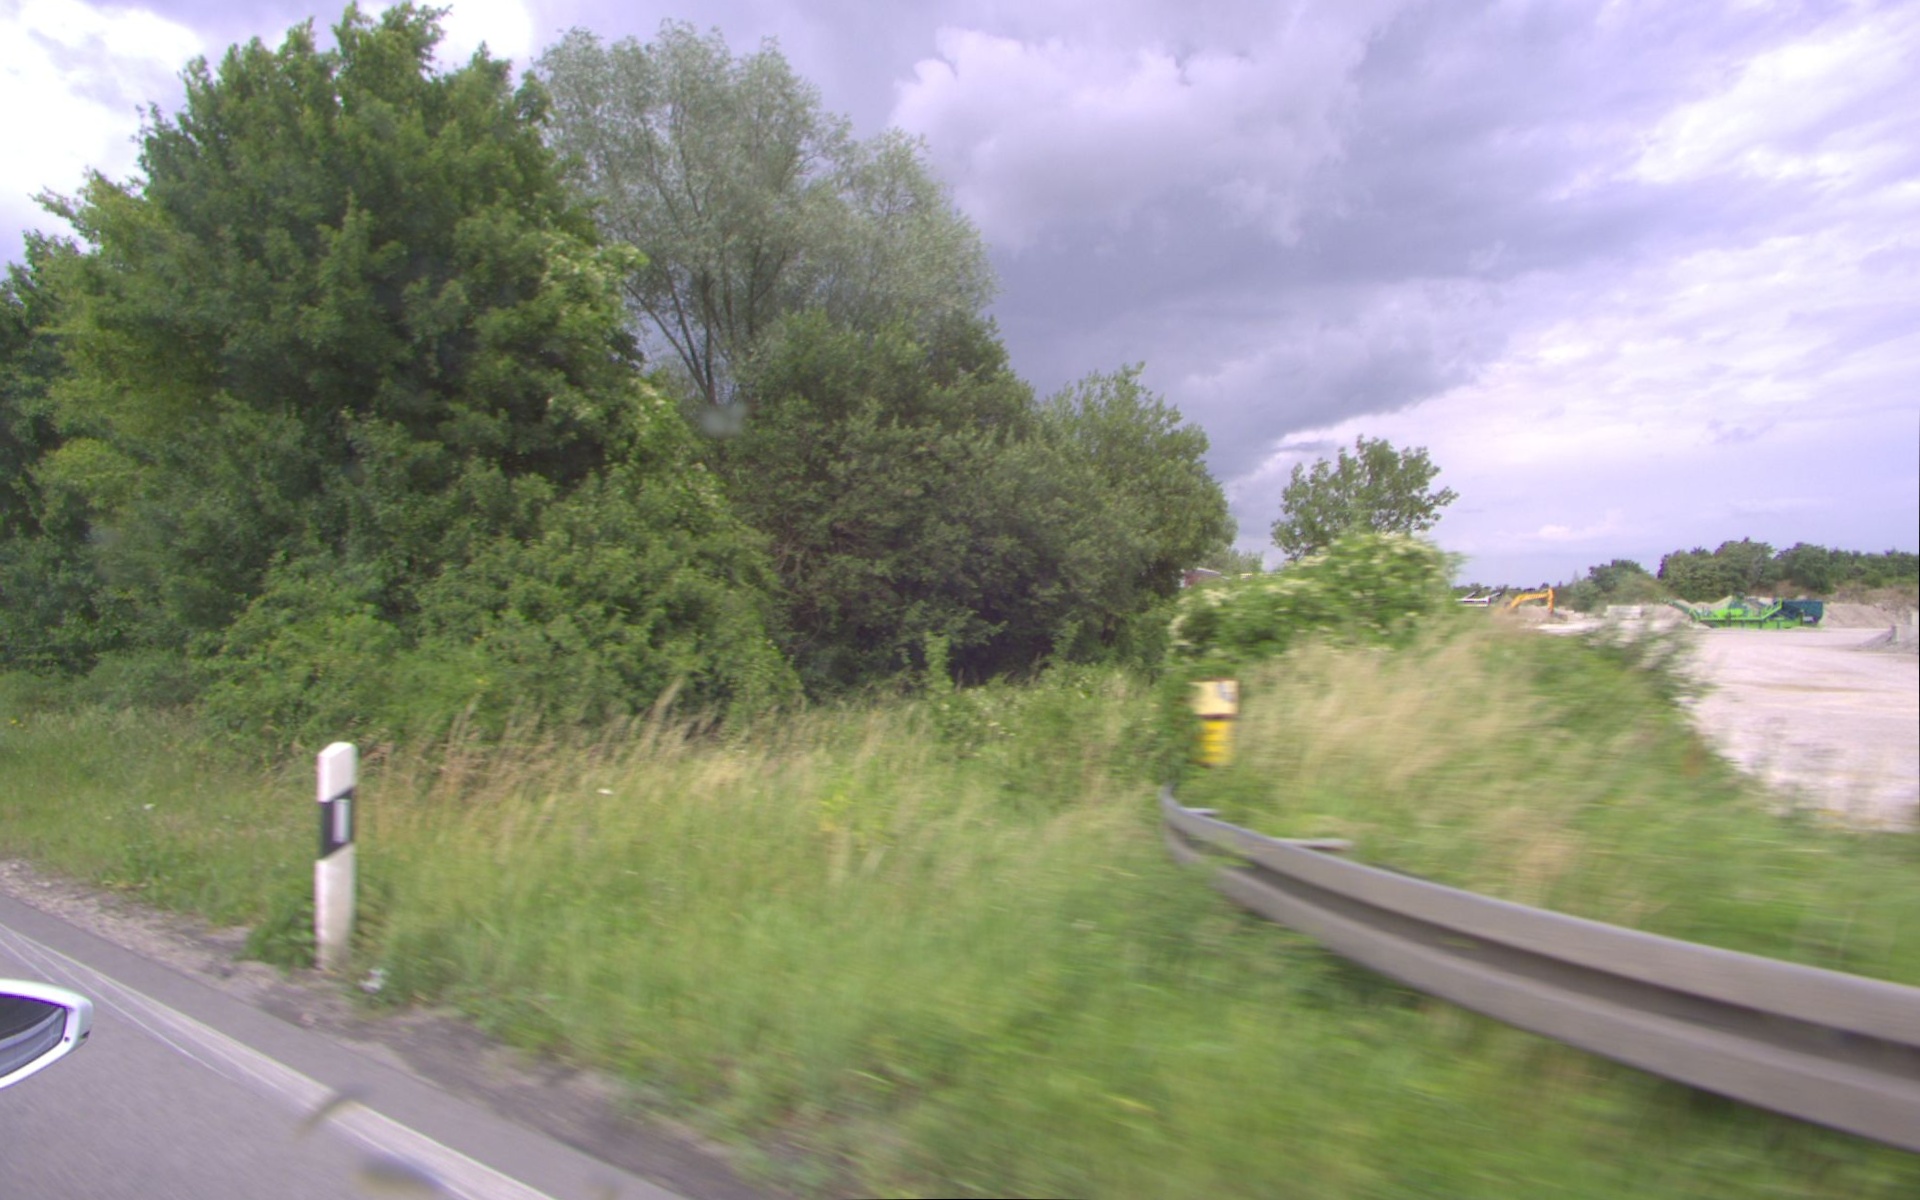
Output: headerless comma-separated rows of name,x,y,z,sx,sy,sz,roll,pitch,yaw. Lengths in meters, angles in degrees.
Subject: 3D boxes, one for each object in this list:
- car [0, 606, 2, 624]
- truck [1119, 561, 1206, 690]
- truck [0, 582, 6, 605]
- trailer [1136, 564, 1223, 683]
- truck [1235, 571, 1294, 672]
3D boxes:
car,-97.755,1.497,100.658,1.981,1.716,4.444,3,-4,-42
truck,8.442,0.993,41.191,2.620,4.850,6.150,0,0,20
truck,-124.656,-0.873,128.249,8.666,2.936,2.705,0,0,40
trailer,10.396,0.987,46.585,2.620,4.899,10.261,0,0,20
truck,15.945,1.055,52.157,2.620,4.954,5.953,0,0,20
